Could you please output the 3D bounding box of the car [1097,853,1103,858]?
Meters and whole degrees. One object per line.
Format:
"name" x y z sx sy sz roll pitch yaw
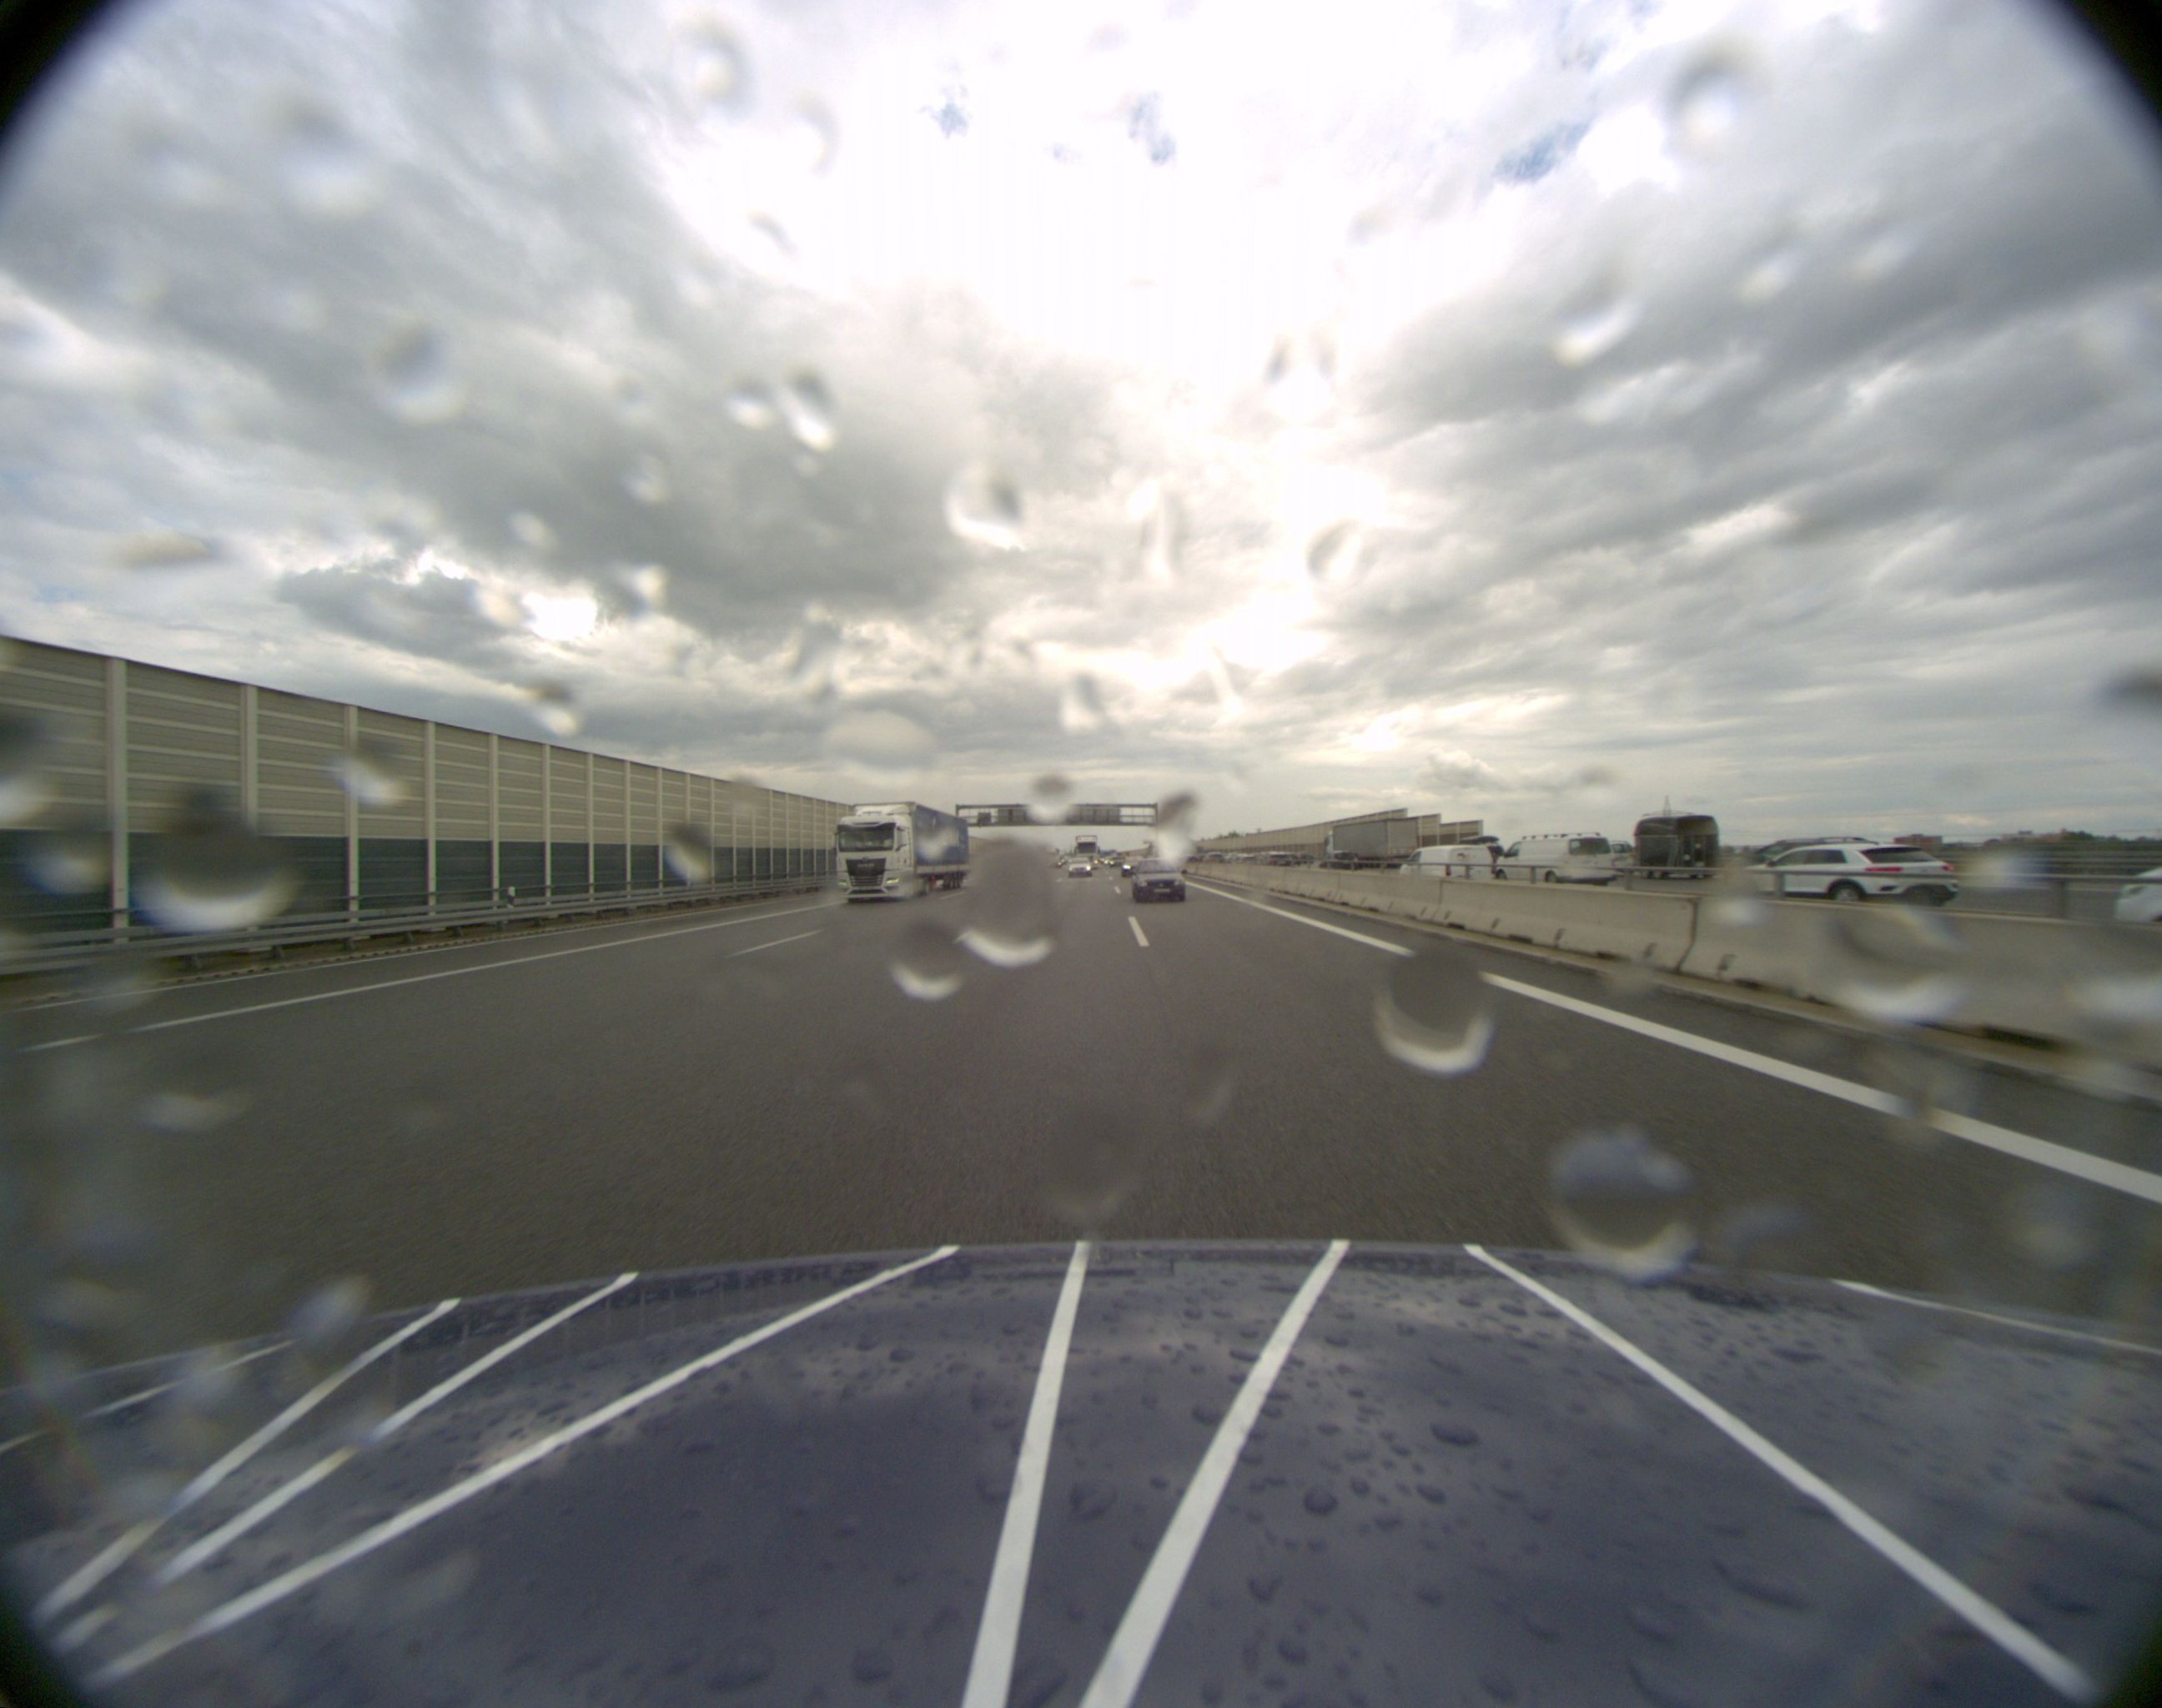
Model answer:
"car" 5.292 0.449 209.675 1.698 1.395 4.000 -2 0 2

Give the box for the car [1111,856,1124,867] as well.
"car" 4.669 0.960 97.566 1.498 1.395 4.000 -2 0 1

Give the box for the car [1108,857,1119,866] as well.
"car" 5.061 1.182 119.457 1.498 1.395 4.000 -2 0 -1

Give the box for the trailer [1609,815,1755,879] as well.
"trailer" 25.478 -0.275 32.529 2.205 2.469 5.228 -1 0 2

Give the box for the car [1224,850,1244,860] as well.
"car" 23.118 0.160 115.157 2.065 1.482 4.997 -1 0 2

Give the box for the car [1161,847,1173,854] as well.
"car" 19.218 -0.750 169.927 2.065 1.482 4.997 -1 0 2

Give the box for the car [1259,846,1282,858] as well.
"car" 27.435 -0.311 109.977 2.065 1.526 5.470 -1 0 2

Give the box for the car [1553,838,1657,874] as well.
"car" 25.669 0.071 37.428 2.065 1.636 4.519 -1 0 2

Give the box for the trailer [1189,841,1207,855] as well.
"trailer" 34.251 -1.729 222.478 2.943 4.008 13.859 -2 0 0

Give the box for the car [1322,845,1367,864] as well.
"car" 22.230 0.036 64.400 2.065 1.526 5.470 -1 0 2

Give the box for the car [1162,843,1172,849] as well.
"car" 22.682 -2.022 199.997 2.065 1.590 4.996 -2 0 0

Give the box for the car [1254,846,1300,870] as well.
"car" 14.152 0.263 55.267 2.065 1.636 5.380 -1 0 2

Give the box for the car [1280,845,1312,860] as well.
"car" 23.400 -0.176 82.809 2.065 1.526 5.470 -1 0 2

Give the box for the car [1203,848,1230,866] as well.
"car" 15.031 0.320 84.716 2.065 1.869 6.328 -1 0 2

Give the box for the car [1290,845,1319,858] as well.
"car" 27.103 -0.344 92.258 2.065 1.526 5.470 -1 0 2

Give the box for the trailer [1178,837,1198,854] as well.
"trailer" 26.586 -2.043 189.450 2.768 4.008 14.451 -2 0 -1

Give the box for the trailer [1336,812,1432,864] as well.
"trailer" 26.050 -1.252 66.467 2.939 4.008 14.454 -2 0 1

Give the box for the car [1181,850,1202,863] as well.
"car" 14.653 0.317 100.971 2.065 1.525 4.997 -1 0 2

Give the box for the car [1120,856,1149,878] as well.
"car" 3.755 0.865 53.734 1.776 1.451 4.480 -2 0 1

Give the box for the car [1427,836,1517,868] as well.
"car" 21.730 -0.120 42.582 2.065 1.636 6.120 -1 0 2

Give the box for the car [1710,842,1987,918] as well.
"car" 17.766 0.525 17.993 2.065 1.526 4.519 -1 0 2

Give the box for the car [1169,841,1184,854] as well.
"car" 19.668 -1.297 156.589 2.389 2.535 7.087 -2 0 2

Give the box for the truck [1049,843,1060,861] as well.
"truck" -6.623 -0.444 187.142 2.600 4.088 11.369 -2 0 -3

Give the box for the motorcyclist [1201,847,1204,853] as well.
"motorcyclist" 27.167 -0.942 169.790 0.638 1.217 0.796 -3 0 0

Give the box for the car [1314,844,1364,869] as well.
"car" 18.145 0.150 53.693 2.065 1.636 4.519 -1 0 2

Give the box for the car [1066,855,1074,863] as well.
"car" -2.103 0.987 147.386 1.498 1.395 4.000 -2 0 -1

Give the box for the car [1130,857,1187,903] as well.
"car" 2.554 0.818 25.769 1.578 1.395 4.000 -2 0 1

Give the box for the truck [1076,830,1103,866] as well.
"truck" 1.031 -0.675 92.181 2.913 4.146 5.193 -3 0 2

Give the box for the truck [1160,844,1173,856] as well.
"truck" 24.803 -1.160 221.529 2.703 3.506 9.996 -3 0 1

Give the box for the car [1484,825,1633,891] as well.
"car" 17.929 0.117 28.973 2.065 2.223 5.894 -1 0 2

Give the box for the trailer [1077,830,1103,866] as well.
"trailer" 1.226 -0.706 99.128 2.925 4.188 13.197 -3 0 1

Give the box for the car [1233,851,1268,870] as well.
"car" 14.972 0.563 67.373 2.065 1.526 5.470 -1 0 2

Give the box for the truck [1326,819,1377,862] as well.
"truck" 26.239 -1.257 74.070 2.979 4.011 5.726 -2 0 1

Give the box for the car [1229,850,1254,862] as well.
"car" 18.985 0.217 90.109 2.065 1.408 4.523 -1 0 2

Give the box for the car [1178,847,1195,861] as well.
"car" 15.752 -0.025 113.719 2.065 1.869 4.997 -1 0 2

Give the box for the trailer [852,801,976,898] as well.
"trailer" -8.033 -0.183 39.255 2.768 4.008 14.454 -2 0 1

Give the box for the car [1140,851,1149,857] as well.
"car" 18.292 -0.011 219.294 1.878 1.689 5.015 -2 0 -1

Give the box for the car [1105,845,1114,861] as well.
"car" 5.449 -0.170 145.905 1.645 3.041 4.589 -2 0 2

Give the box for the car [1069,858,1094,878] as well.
"car" 0.040 1.055 58.288 1.732 1.395 4.000 -2 0 2

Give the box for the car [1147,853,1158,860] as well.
"car" 15.304 0.565 162.465 2.065 1.482 4.997 -1 0 2

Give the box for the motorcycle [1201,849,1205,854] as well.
"motorcycle" 27.149 -0.595 169.620 0.519 1.001 2.431 -3 0 0

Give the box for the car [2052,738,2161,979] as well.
"car" 13.201 -0.027 4.959 2.236 2.733 9.166 -2 -1 3

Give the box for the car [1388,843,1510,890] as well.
"car" 13.712 0.409 28.767 2.065 1.526 5.470 -1 0 2

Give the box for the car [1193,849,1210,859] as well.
"car" 19.646 -0.018 124.354 2.065 1.482 4.997 -1 0 2

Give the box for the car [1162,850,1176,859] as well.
"car" 15.551 0.143 134.214 2.065 1.482 4.997 -1 0 2

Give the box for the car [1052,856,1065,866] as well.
"car" -3.155 1.021 108.306 1.698 1.395 3.999 -2 0 -1

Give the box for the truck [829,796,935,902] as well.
"truck" -8.222 -0.187 32.170 2.751 4.011 5.726 -2 0 1
